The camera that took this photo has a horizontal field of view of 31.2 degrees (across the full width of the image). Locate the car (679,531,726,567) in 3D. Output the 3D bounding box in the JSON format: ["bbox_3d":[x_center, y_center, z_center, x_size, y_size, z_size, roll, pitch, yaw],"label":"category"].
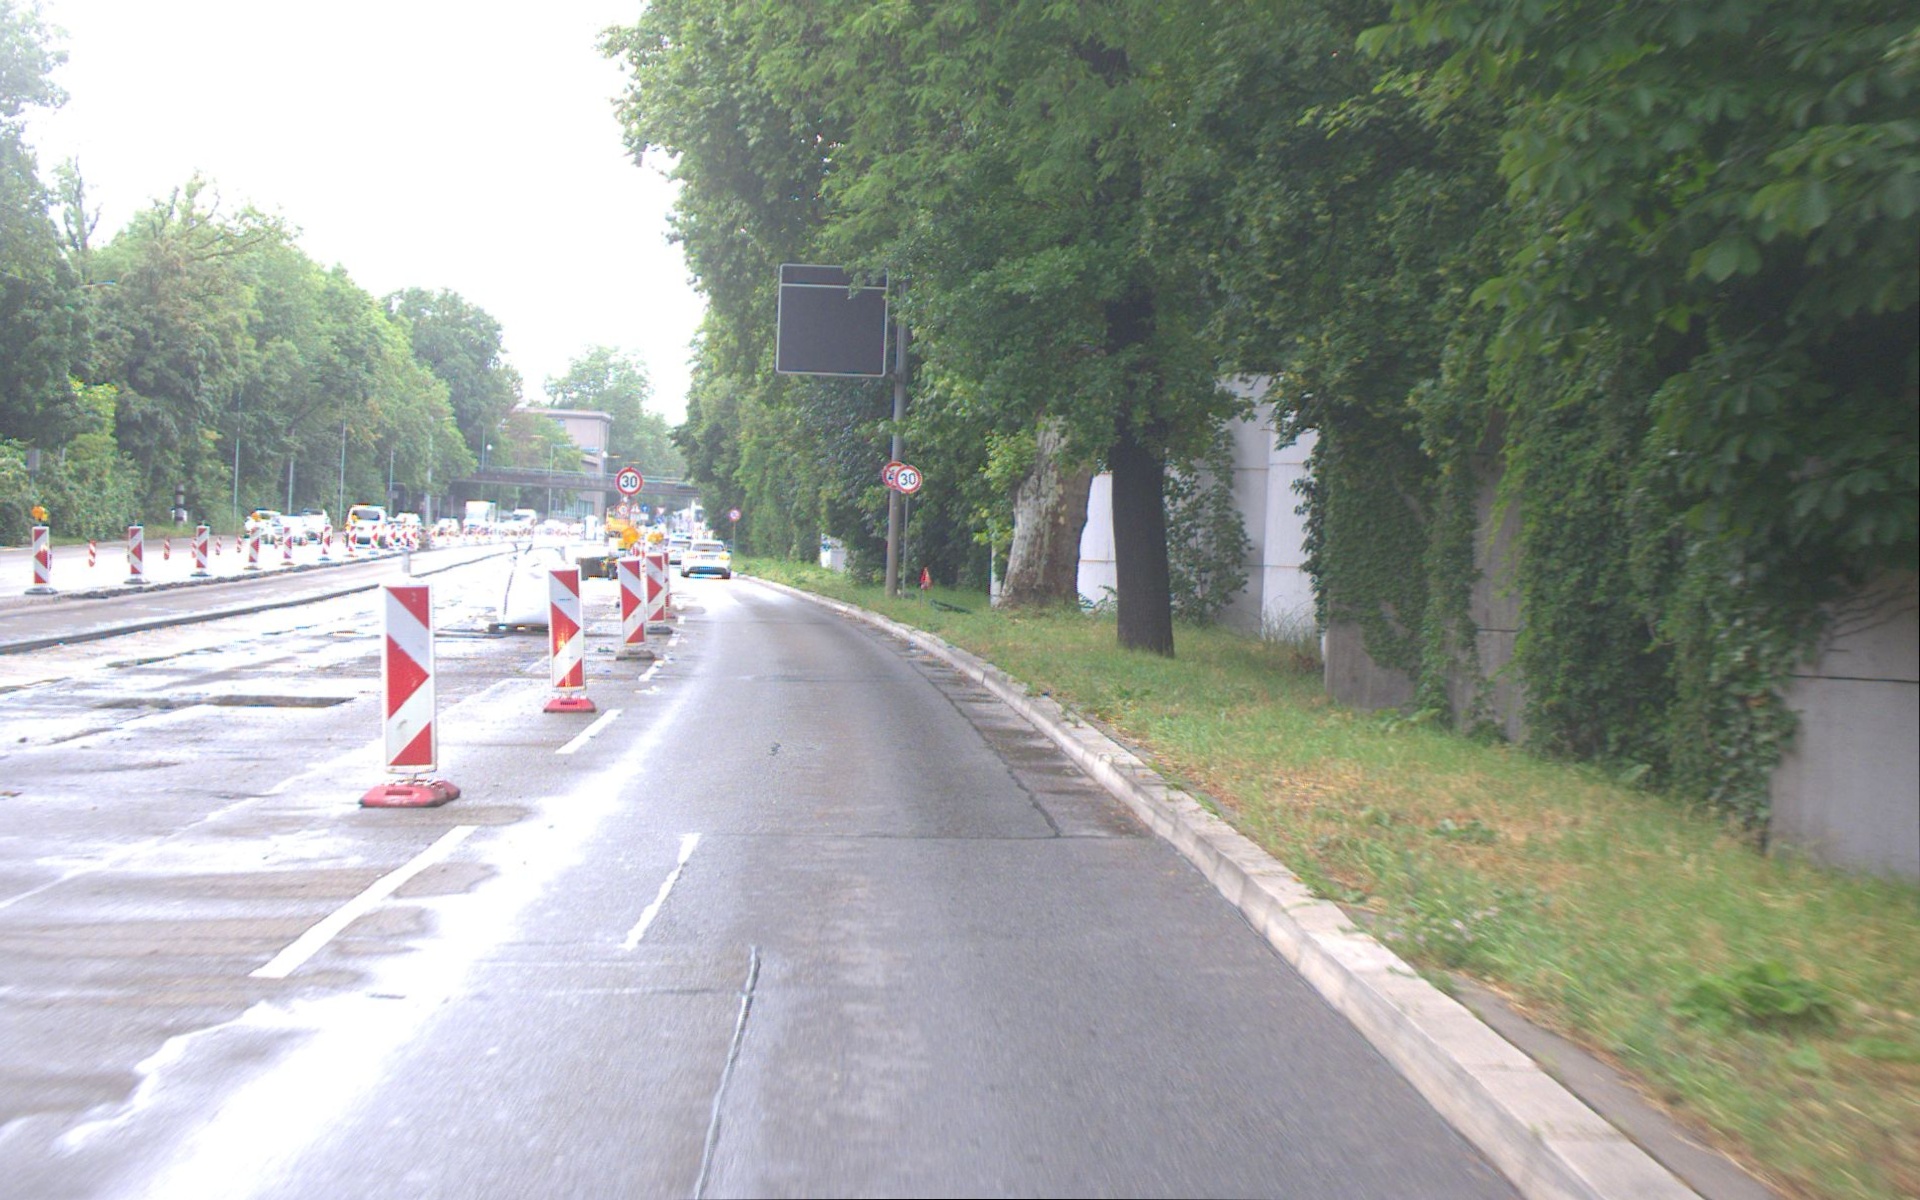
[{"bbox_3d":[-9.827,-1.944,131.133,1.697,1.331,3.492,0,1,-5],"label":"car"}]

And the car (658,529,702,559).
[{"bbox_3d":[-13.434,-2.685,165.083,1.854,1.428,3.731,1,1,-2],"label":"car"}]

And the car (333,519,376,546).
[{"bbox_3d":[-30.739,-3.451,174.701,1.817,1.351,4.206,1,1,-6],"label":"car"}]
